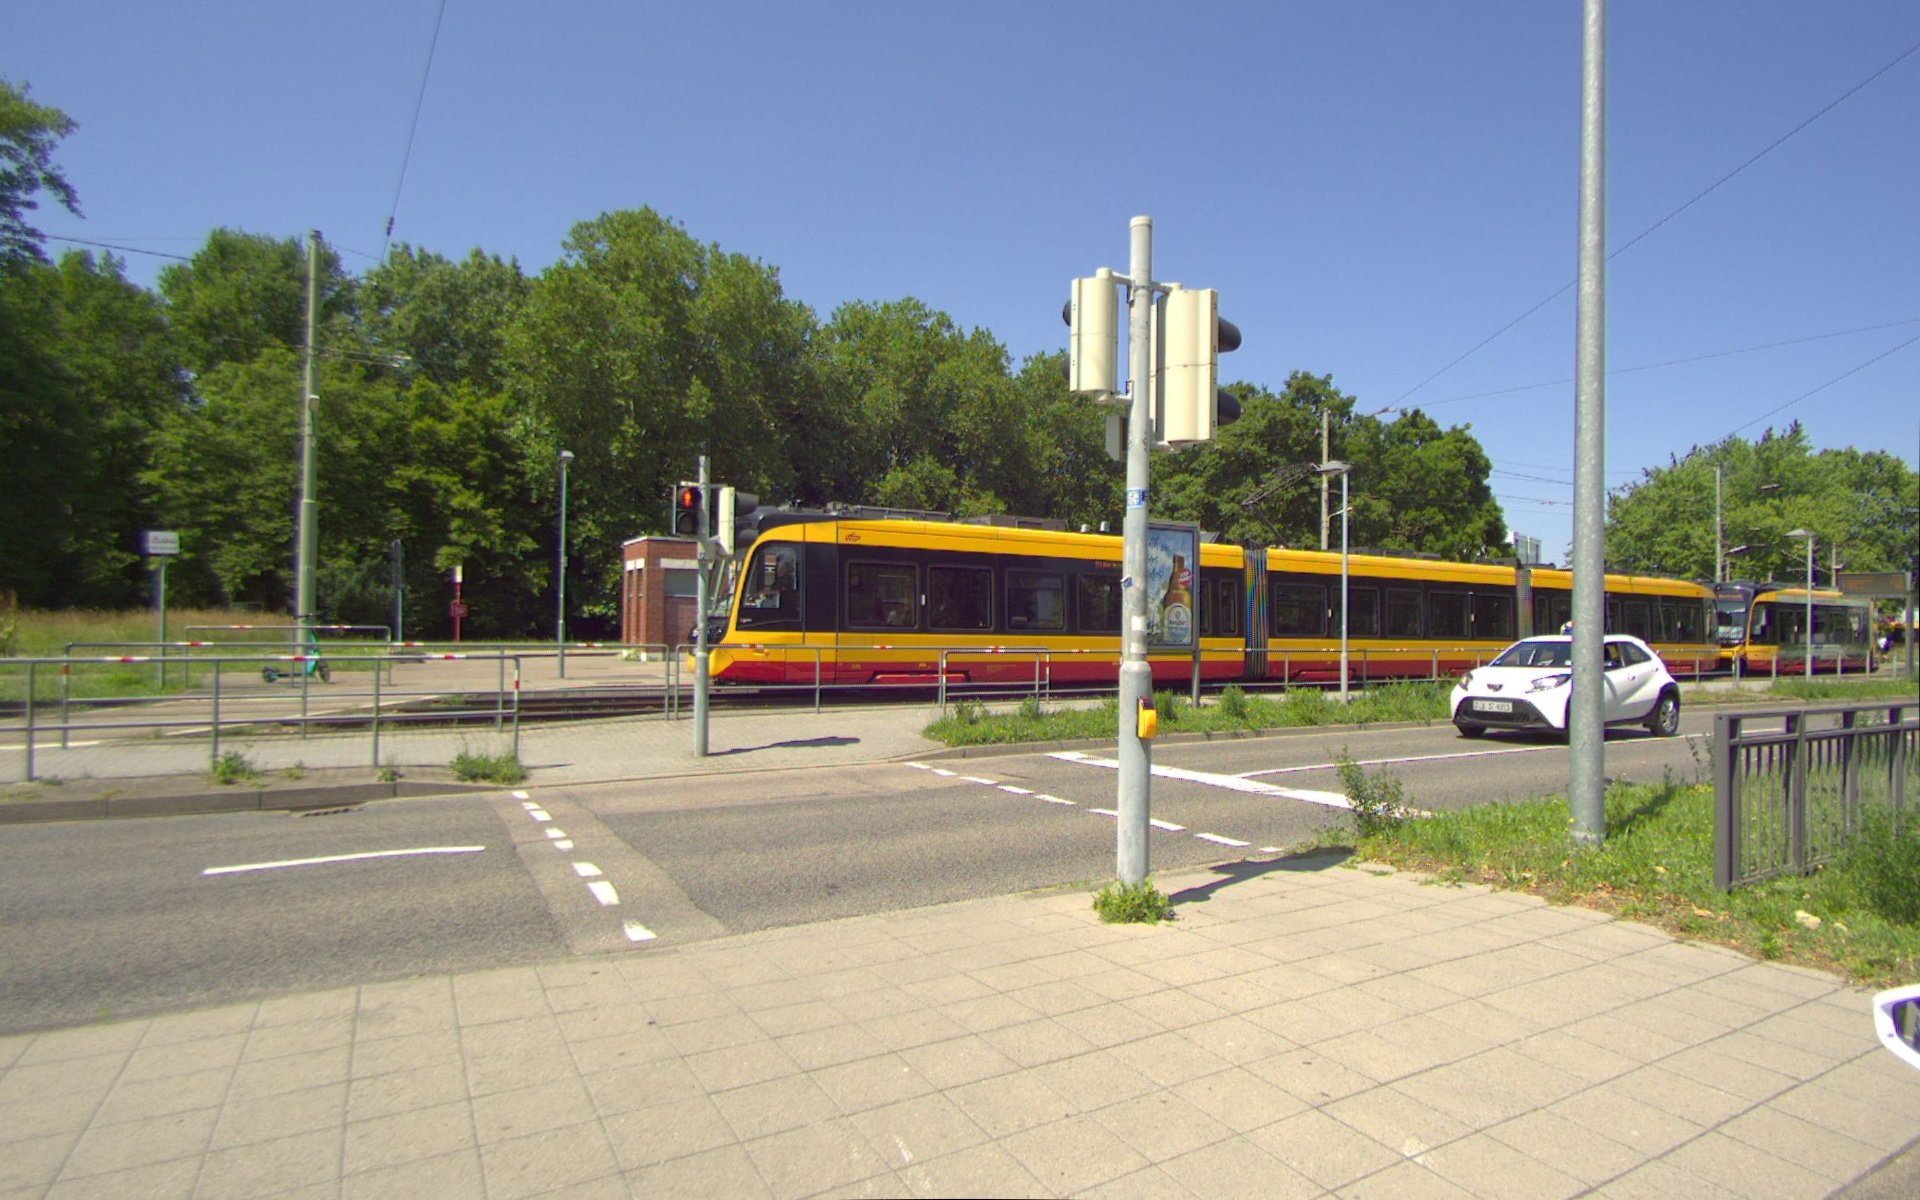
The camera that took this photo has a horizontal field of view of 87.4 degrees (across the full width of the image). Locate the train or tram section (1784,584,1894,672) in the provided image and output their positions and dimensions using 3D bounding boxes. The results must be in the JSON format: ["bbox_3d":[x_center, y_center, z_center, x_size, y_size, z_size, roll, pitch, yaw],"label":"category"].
[{"bbox_3d":[42.037,1.307,47.838,12.371,3.673,3.013,2,0,-45],"label":"train or tram section"}]

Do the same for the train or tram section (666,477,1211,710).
[{"bbox_3d":[0.000,0.011,21.000,11.408,3.907,2.935,2,0,-31],"label":"train or tram section"}]

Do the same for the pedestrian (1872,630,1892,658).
[{"bbox_3d":[53.215,2.546,57.980,0.533,1.586,0.793,1,1,-44],"label":"pedestrian"}]

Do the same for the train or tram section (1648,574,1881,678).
[{"bbox_3d":[32.750,1.075,40.548,13.746,3.673,3.026,2,0,-33],"label":"train or tram section"}]

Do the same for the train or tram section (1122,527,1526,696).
[{"bbox_3d":[10.205,0.396,27.117,12.450,3.791,3.028,2,0,-31],"label":"train or tram section"}]

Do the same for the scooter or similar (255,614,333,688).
[{"bbox_3d":[-11.941,0.902,18.041,1.087,1.253,0.765,1,0,-30],"label":"scooter or similar"}]

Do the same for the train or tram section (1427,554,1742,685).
[{"bbox_3d":[21.209,0.709,33.641,13.103,3.817,3.030,2,0,-30],"label":"train or tram section"}]

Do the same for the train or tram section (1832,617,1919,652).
[{"bbox_3d":[101.169,3.734,106.286,3.015,3.512,13.137,1,0,-34],"label":"train or tram section"}]

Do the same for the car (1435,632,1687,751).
[{"bbox_3d":[8.986,1.273,14.959,3.679,1.524,1.759,2,-1,-32],"label":"car"}]

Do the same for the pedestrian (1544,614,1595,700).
[{"bbox_3d":[13.289,1.225,21.891,0.768,1.815,0.628,1,0,-32],"label":"pedestrian"}]
